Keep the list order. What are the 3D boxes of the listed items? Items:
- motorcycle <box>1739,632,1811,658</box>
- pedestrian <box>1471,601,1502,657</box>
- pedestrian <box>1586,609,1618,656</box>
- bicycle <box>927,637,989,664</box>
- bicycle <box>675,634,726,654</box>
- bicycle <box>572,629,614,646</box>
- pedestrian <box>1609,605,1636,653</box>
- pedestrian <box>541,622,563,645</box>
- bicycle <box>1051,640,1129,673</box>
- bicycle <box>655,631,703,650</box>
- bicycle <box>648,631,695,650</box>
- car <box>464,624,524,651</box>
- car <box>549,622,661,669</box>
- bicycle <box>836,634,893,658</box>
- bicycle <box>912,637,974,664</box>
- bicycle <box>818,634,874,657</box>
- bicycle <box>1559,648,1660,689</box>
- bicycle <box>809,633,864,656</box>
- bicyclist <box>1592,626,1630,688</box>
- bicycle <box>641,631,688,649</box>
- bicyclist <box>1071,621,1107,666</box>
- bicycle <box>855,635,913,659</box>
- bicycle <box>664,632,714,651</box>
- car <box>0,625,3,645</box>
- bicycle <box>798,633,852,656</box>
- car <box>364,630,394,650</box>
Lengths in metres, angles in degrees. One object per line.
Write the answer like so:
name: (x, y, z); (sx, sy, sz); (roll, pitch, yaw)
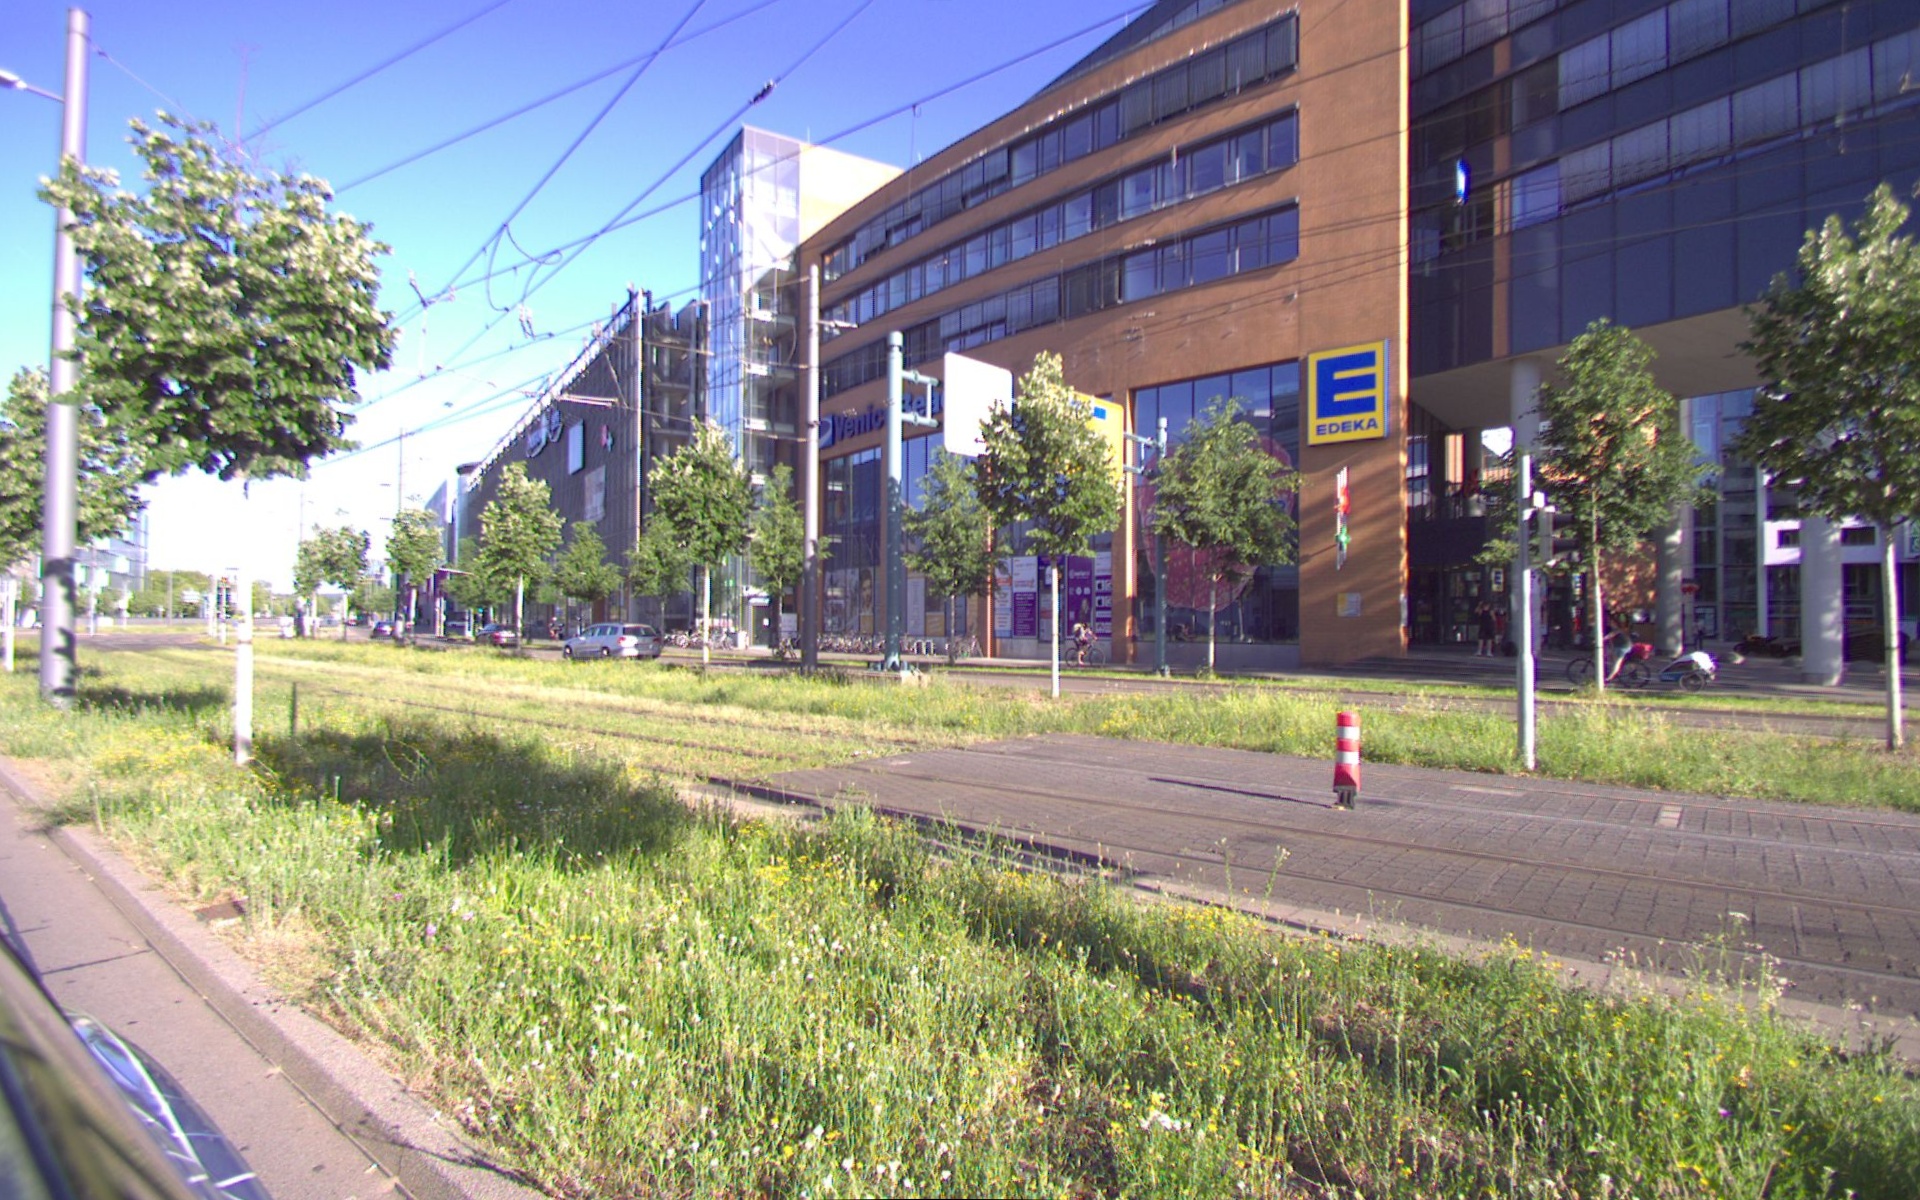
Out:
motorcycle: (35.702, 1.969, 44.376); (0.819, 1.066, 2.347); (1, -2, -40)
pedestrian: (16.491, 0.916, 31.680); (0.698, 1.718, 0.724); (-1, -2, 40)
pedestrian: (22.339, 1.129, 35.227); (0.688, 1.635, 0.735); (1, -2, -37)
bicycle: (-0.064, 2.105, 42.607); (2.648, 1.112, 0.897); (1, -3, -39)
bicycle: (-14.742, 2.475, 57.494); (2.648, 1.112, 0.897); (1, -3, -39)
bicycle: (-25.566, 2.593, 70.509); (2.648, 1.198, 0.897); (1, -3, -39)
pedestrian: (23.884, 1.041, 36.481); (0.698, 1.718, 0.724); (-1, -2, 40)
pedestrian: (-29.979, 2.446, 74.423); (1.093, 1.694, 1.059); (-1, -2, 35)
bicycle: (4.583, 1.990, 35.819); (2.691, 1.112, 0.883); (-2, -3, 42)
bicycle: (-16.826, 2.434, 60.565); (2.648, 1.112, 0.897); (1, -3, -39)
bicycle: (-17.465, 2.443, 61.320); (2.648, 1.112, 0.827); (1, -3, -39)
car: (-27.469, 2.196, 59.640); (4.354, 1.539, 1.605); (-1, -3, 42)
car: (-12.641, 1.567, 35.849); (4.801, 1.539, 1.605); (-1, -2, 41)
bicycle: (-4.514, 2.189, 48.099); (2.648, 1.112, 0.897); (1, -3, -39)
bicycle: (-0.717, 2.139, 43.426); (2.648, 1.112, 0.897); (1, -3, -39)
bicycle: (-5.546, 2.201, 49.415); (2.648, 1.112, 0.897); (1, -3, -39)
bicycle: (16.425, 1.723, 25.629); (2.065, 0.957, 0.682); (-1, -2, 40)
bicycle: (-6.149, 2.221, 50.602); (2.648, 1.112, 0.897); (1, -3, -39)
bicyclist: (16.463, 1.431, 25.596); (0.702, 1.541, 0.682); (-1, -2, 40)
bicycle: (-18.080, 2.455, 62.003); (2.648, 1.112, 0.897); (1, -3, -39)
bicyclist: (4.577, 1.544, 35.832); (0.939, 1.560, 0.883); (-2, -3, 41)
bicycle: (-3.544, 2.177, 47.172); (2.648, 1.112, 0.897); (1, -3, -39)
bicycle: (-15.822, 2.422, 59.123); (2.648, 1.112, 0.897); (1, -3, -39)
car: (-75.720, 2.627, 76.689); (4.282, 1.539, 1.683); (1, -2, -15)
bicycle: (-6.877, 2.254, 51.538); (2.648, 1.112, 0.897); (1, -3, -39)
car: (-46.387, 3.146, 80.779); (1.600, 1.539, 4.365); (2, -3, -36)
